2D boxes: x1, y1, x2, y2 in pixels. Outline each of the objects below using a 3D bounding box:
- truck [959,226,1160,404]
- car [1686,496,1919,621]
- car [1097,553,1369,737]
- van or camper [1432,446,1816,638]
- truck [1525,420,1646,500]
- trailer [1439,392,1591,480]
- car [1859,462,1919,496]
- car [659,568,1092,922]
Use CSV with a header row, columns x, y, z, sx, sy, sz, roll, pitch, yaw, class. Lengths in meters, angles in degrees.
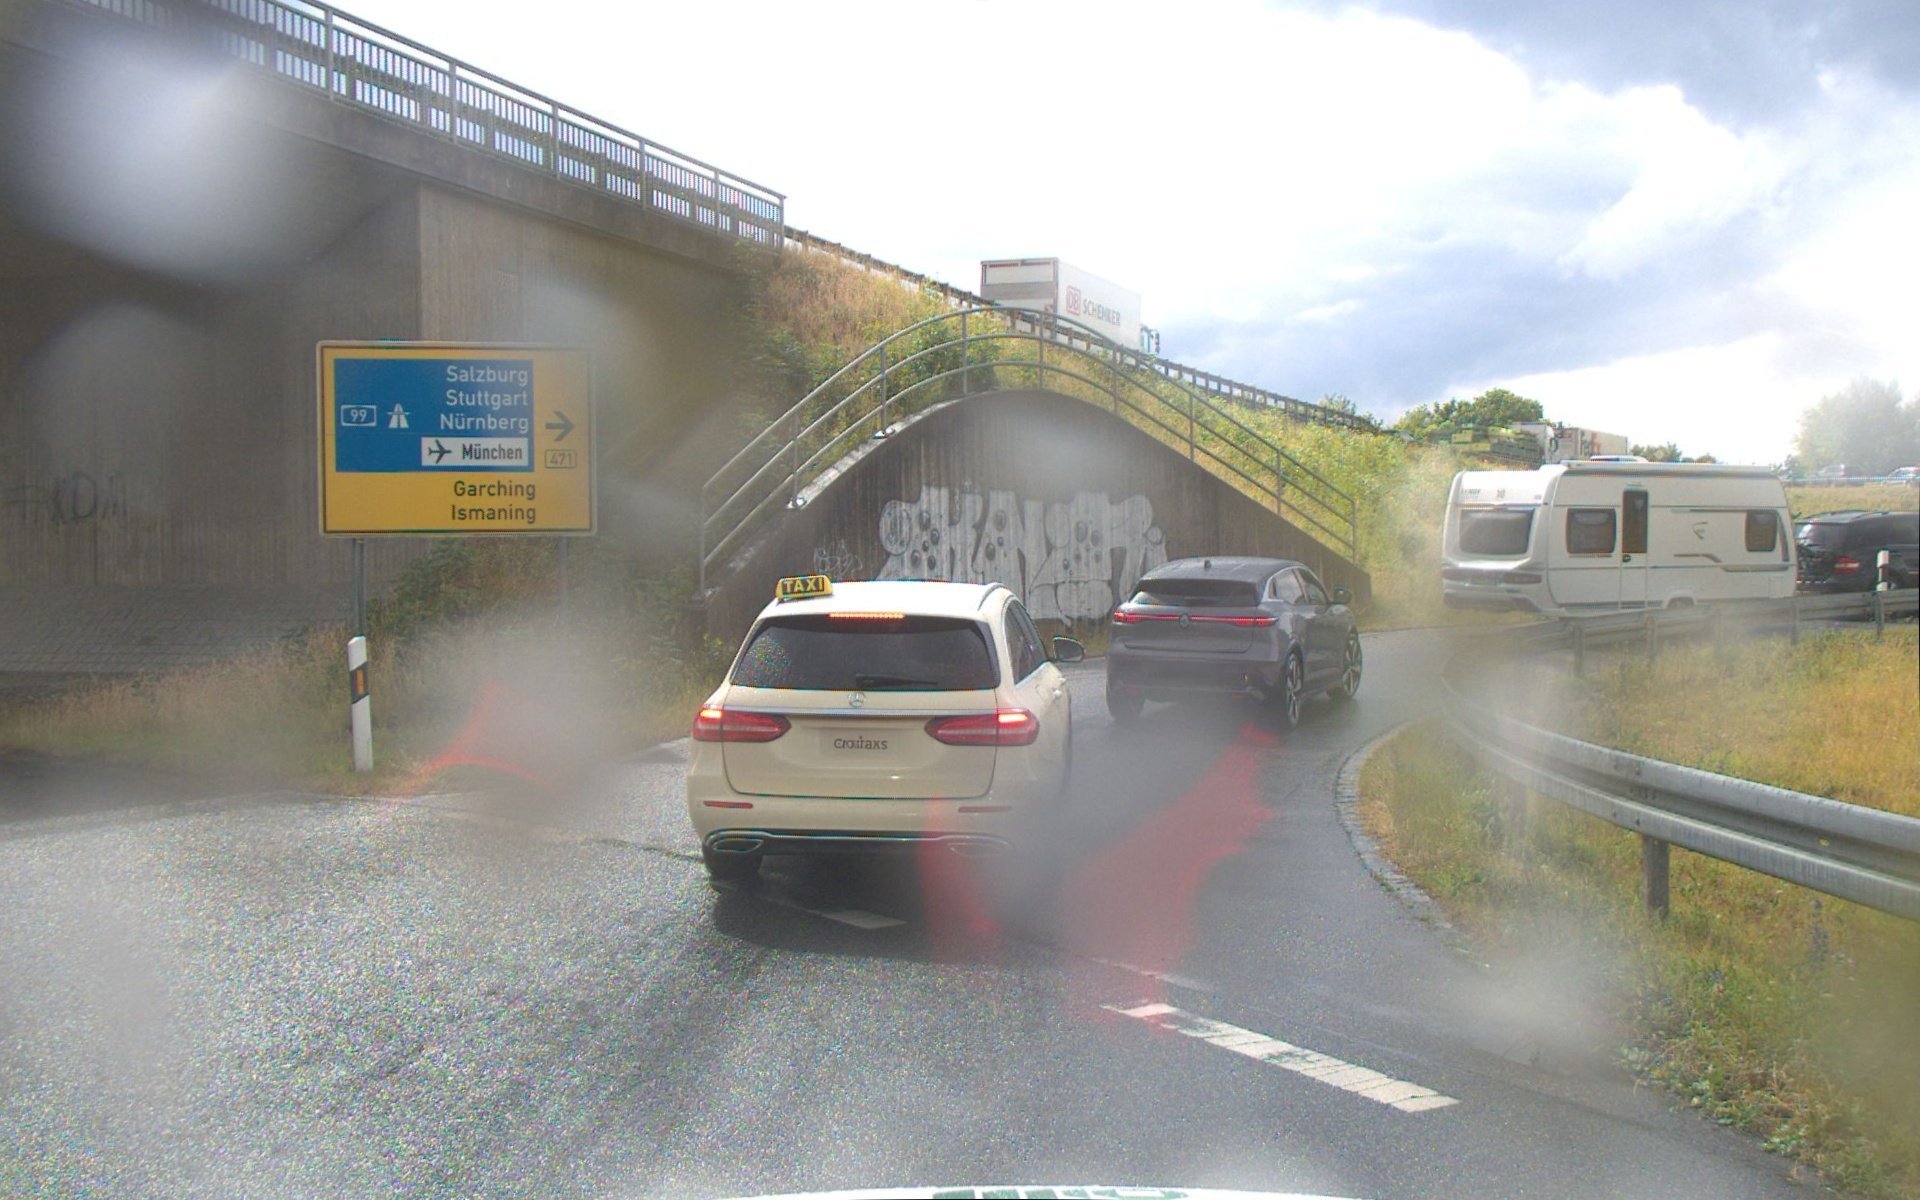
x,y,z,sx,sy,sz,roll,pitch,yaw,class
3.323,-8.640,51.644,3.117,4.035,9.231,1,1,25,truck
15.694,-0.802,28.630,5.657,1.958,2.423,-2,4,-20,car
2.826,0.325,16.392,1.684,1.551,3.998,1,2,24,car
10.600,-0.994,26.352,5.910,2.776,2.418,-2,3,-27,van or camper
47.265,-10.294,124.298,4.382,4.581,19.319,1,1,33,truck
36.596,-10.461,108.031,4.336,4.024,20.158,1,1,33,trailer
64.200,-8.259,113.501,1.971,2.049,3.963,-1,1,-28,car
-0.196,0.605,9.521,1.875,1.533,4.599,0,0,5,car
